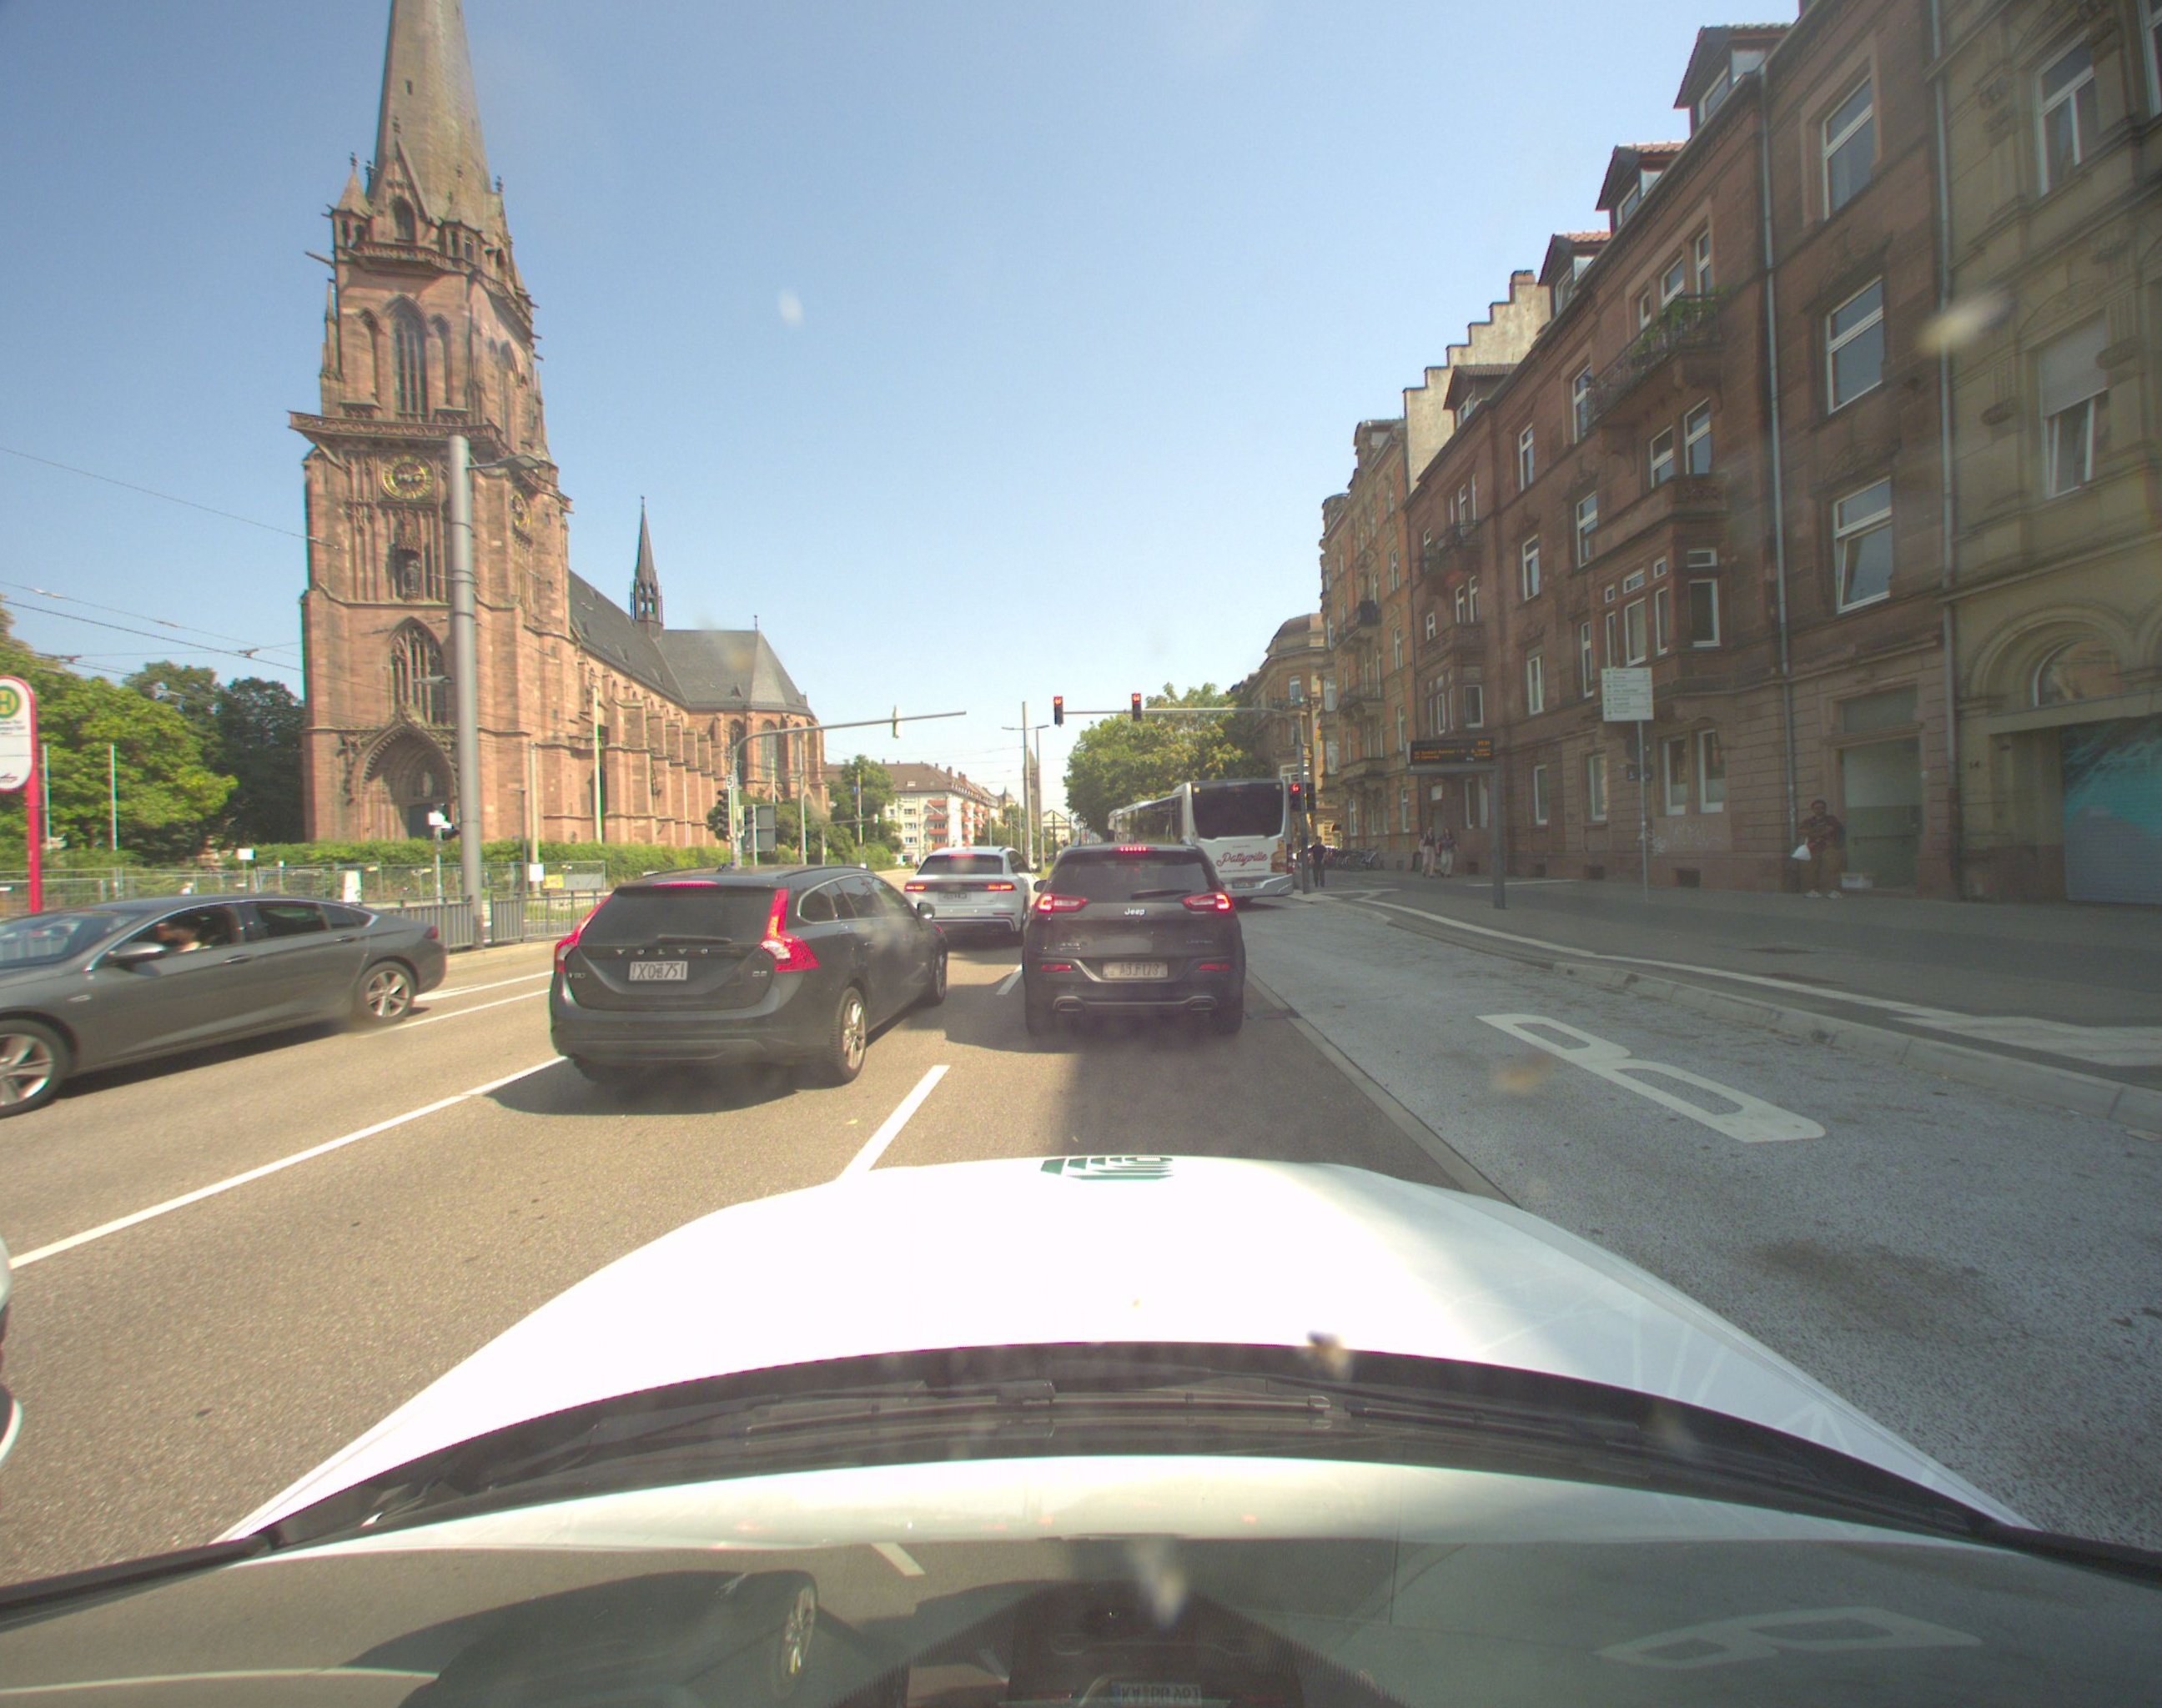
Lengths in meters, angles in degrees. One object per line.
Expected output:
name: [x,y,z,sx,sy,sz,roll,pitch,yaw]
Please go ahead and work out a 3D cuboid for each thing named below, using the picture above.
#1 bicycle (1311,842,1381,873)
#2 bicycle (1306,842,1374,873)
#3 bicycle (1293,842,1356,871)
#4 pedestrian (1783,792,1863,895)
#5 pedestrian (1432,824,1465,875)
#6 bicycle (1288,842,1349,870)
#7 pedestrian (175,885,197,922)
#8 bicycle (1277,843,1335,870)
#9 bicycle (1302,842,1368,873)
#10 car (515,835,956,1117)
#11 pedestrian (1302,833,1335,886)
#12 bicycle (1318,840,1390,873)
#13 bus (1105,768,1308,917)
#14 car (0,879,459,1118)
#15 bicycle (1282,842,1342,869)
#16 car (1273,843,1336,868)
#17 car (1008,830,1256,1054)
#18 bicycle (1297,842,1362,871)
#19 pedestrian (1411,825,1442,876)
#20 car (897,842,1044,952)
bicycle: [12.600,0.161,38.752,2.983,1.371,0.871,-2,0,1]
bicycle: [12.591,0.179,39.666,2.983,1.371,0.871,-2,0,1]
bicycle: [12.723,0.114,42.651,2.993,1.373,0.948,-2,0,1]
pedestrian: [13.259,-0.183,14.557,0.872,1.778,0.737,-2,0,-26]
pedestrian: [12.937,-0.157,28.706,0.712,1.778,0.870,-2,0,0]
bicycle: [12.718,0.125,43.662,2.993,1.373,0.948,-2,0,1]
pedestrian: [-39.057,2.155,35.536,0.430,1.531,0.548,-3,0,36]
bicycle: [12.718,0.127,46.023,2.993,1.373,0.948,-2,0,1]
bicycle: [12.646,0.174,40.612,2.983,1.371,0.871,-2,0,1]
car: [-2.339,0.706,6.883,1.741,1.614,4.310,-1,0,2]
pedestrian: [8.056,0.181,27.679,0.893,1.741,0.770,-4,-1,8]
bicycle: [12.661,0.116,37.844,2.983,1.371,0.871,-2,0,1]
bus: [2.991,-0.192,24.070,2.740,3.107,11.928,-5,0,-6]
car: [-7.975,1.067,6.870,1.739,1.435,4.575,-3,0,2]
bicycle: [12.722,0.095,44.980,2.993,1.373,0.948,-2,0,1]
car: [15.680,0.104,57.265,3.926,1.521,1.679,-2,0,-6]
car: [0.493,0.651,8.227,1.825,1.651,4.312,-1,0,3]
bicycle: [12.675,0.120,41.556,2.993,1.373,0.948,-2,0,1]
pedestrian: [12.214,-0.121,28.808,0.711,1.776,0.848,-2,0,1]
car: [-1.800,0.650,14.686,1.895,1.651,4.310,-1,0,2]
